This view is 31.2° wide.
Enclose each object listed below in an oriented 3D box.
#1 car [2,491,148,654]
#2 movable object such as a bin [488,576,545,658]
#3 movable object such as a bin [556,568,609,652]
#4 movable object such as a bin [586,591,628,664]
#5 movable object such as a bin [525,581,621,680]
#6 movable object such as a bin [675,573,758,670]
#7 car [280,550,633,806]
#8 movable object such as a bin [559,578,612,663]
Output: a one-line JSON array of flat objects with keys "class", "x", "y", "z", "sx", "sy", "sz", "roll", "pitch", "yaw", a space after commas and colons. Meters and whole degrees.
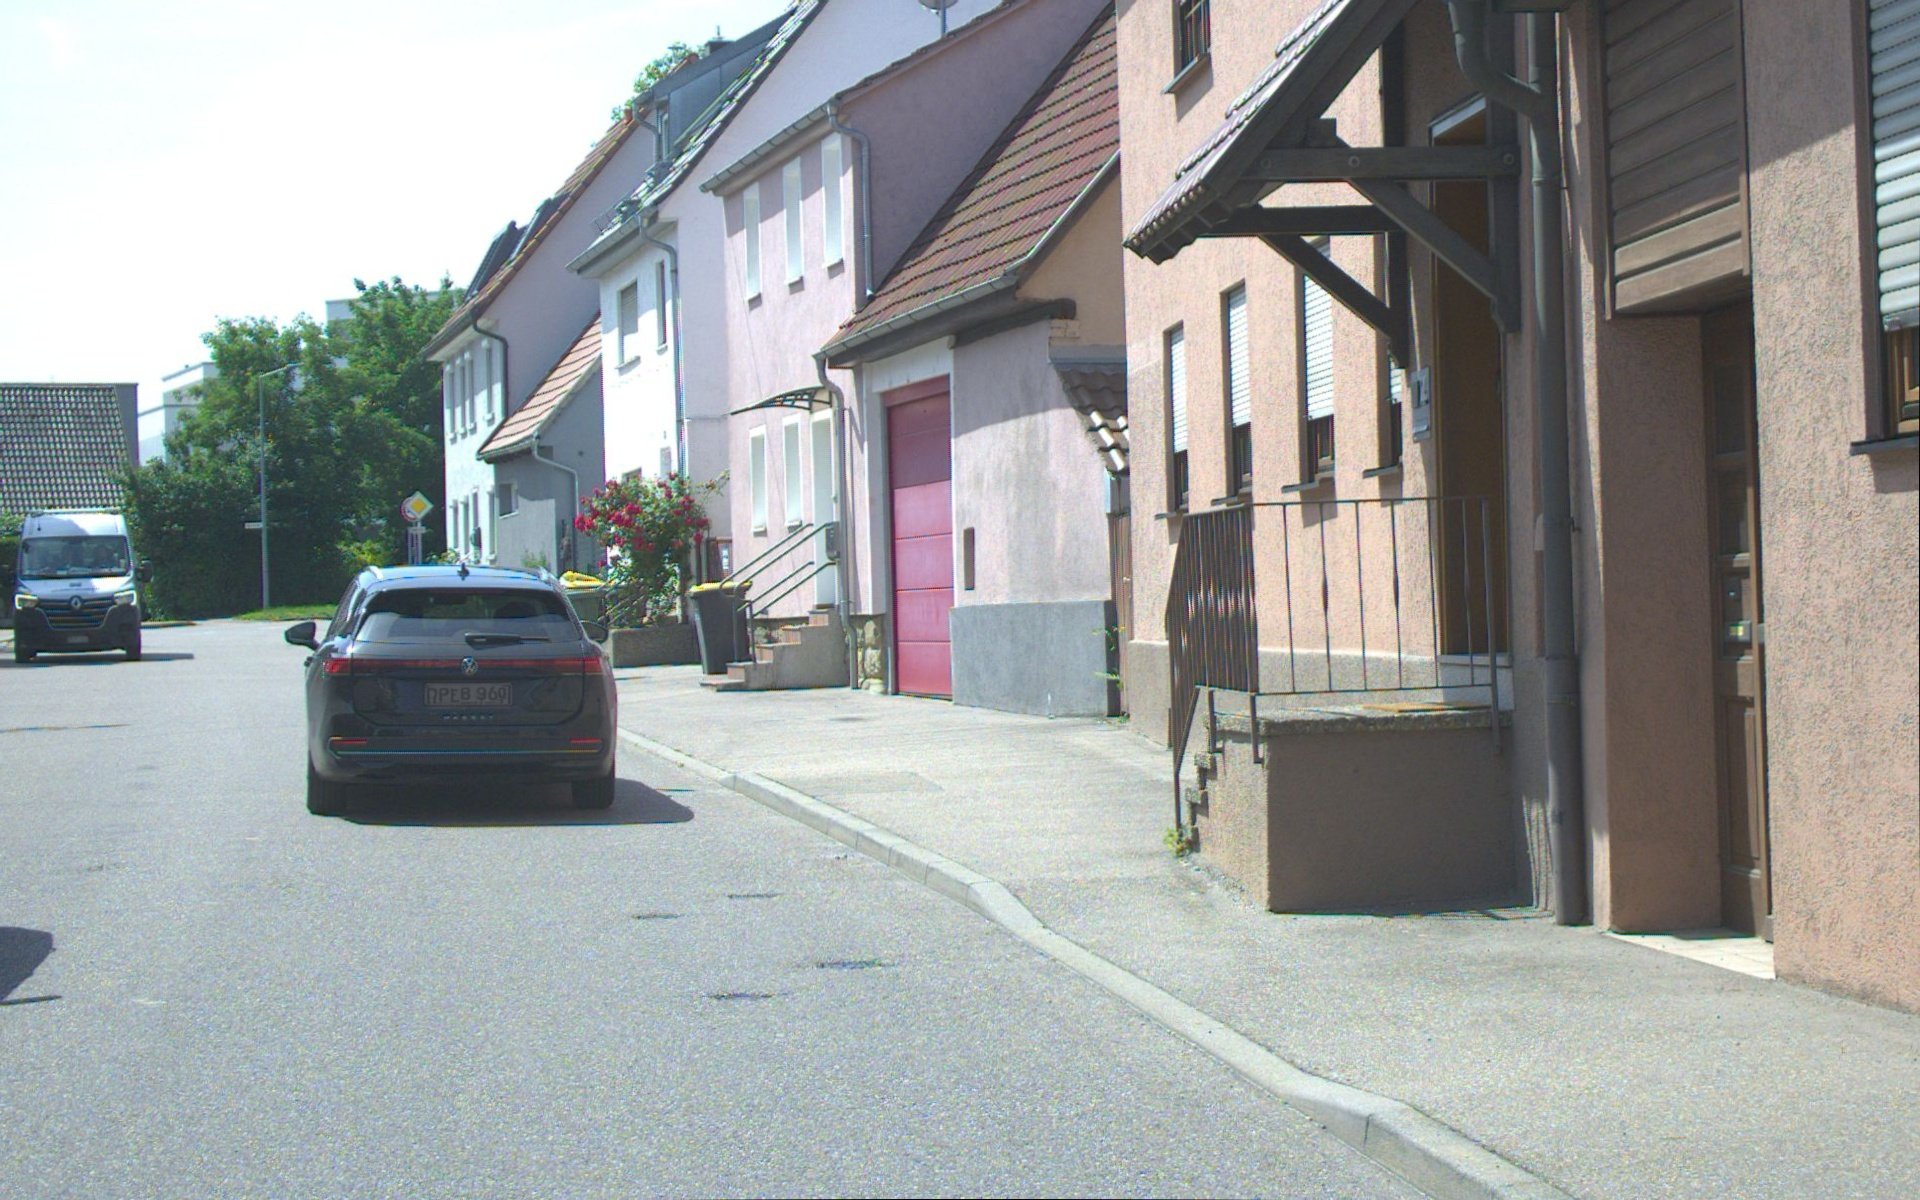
[{"class": "car", "x": -14.813, "y": -0.474, "z": 57.793, "sx": 2.113, "sy": 2.554, "sz": 5.829, "roll": -2, "pitch": 1, "yaw": -12}, {"class": "movable object such as a bin", "x": -6.370, "y": 0.239, "z": 49.384, "sx": 0.678, "sy": 1.151, "sz": 0.820, "roll": 0, "pitch": 0, "yaw": -17}, {"class": "movable object such as a bin", "x": -5.411, "y": 0.140, "z": 49.234, "sx": 0.664, "sy": 1.190, "sz": 0.660, "roll": -1, "pitch": 1, "yaw": -13}, {"class": "movable object such as a bin", "x": -4.858, "y": 0.375, "z": 47.347, "sx": 0.503, "sy": 0.990, "sz": 0.442, "roll": -1, "pitch": 0, "yaw": -13}, {"class": "movable object such as a bin", "x": -4.545, "y": 0.349, "z": 40.373, "sx": 0.875, "sy": 1.071, "sz": 0.873, "roll": -5, "pitch": 2, "yaw": -17}, {"class": "movable object such as a bin", "x": -2.796, "y": 0.241, "z": 39.455, "sx": 0.678, "sy": 1.046, "sz": 0.835, "roll": -5, "pitch": 2, "yaw": -17}, {"class": "car", "x": -3.251, "y": 0.441, "z": 21.483, "sx": 1.841, "sy": 1.415, "sz": 4.683, "roll": 0, "pitch": 0, "yaw": -13}, {"class": "movable object such as a bin", "x": -5.290, "y": 0.285, "z": 48.532, "sx": 0.664, "sy": 1.190, "sz": 0.588, "roll": -1, "pitch": 0, "yaw": -13}]
